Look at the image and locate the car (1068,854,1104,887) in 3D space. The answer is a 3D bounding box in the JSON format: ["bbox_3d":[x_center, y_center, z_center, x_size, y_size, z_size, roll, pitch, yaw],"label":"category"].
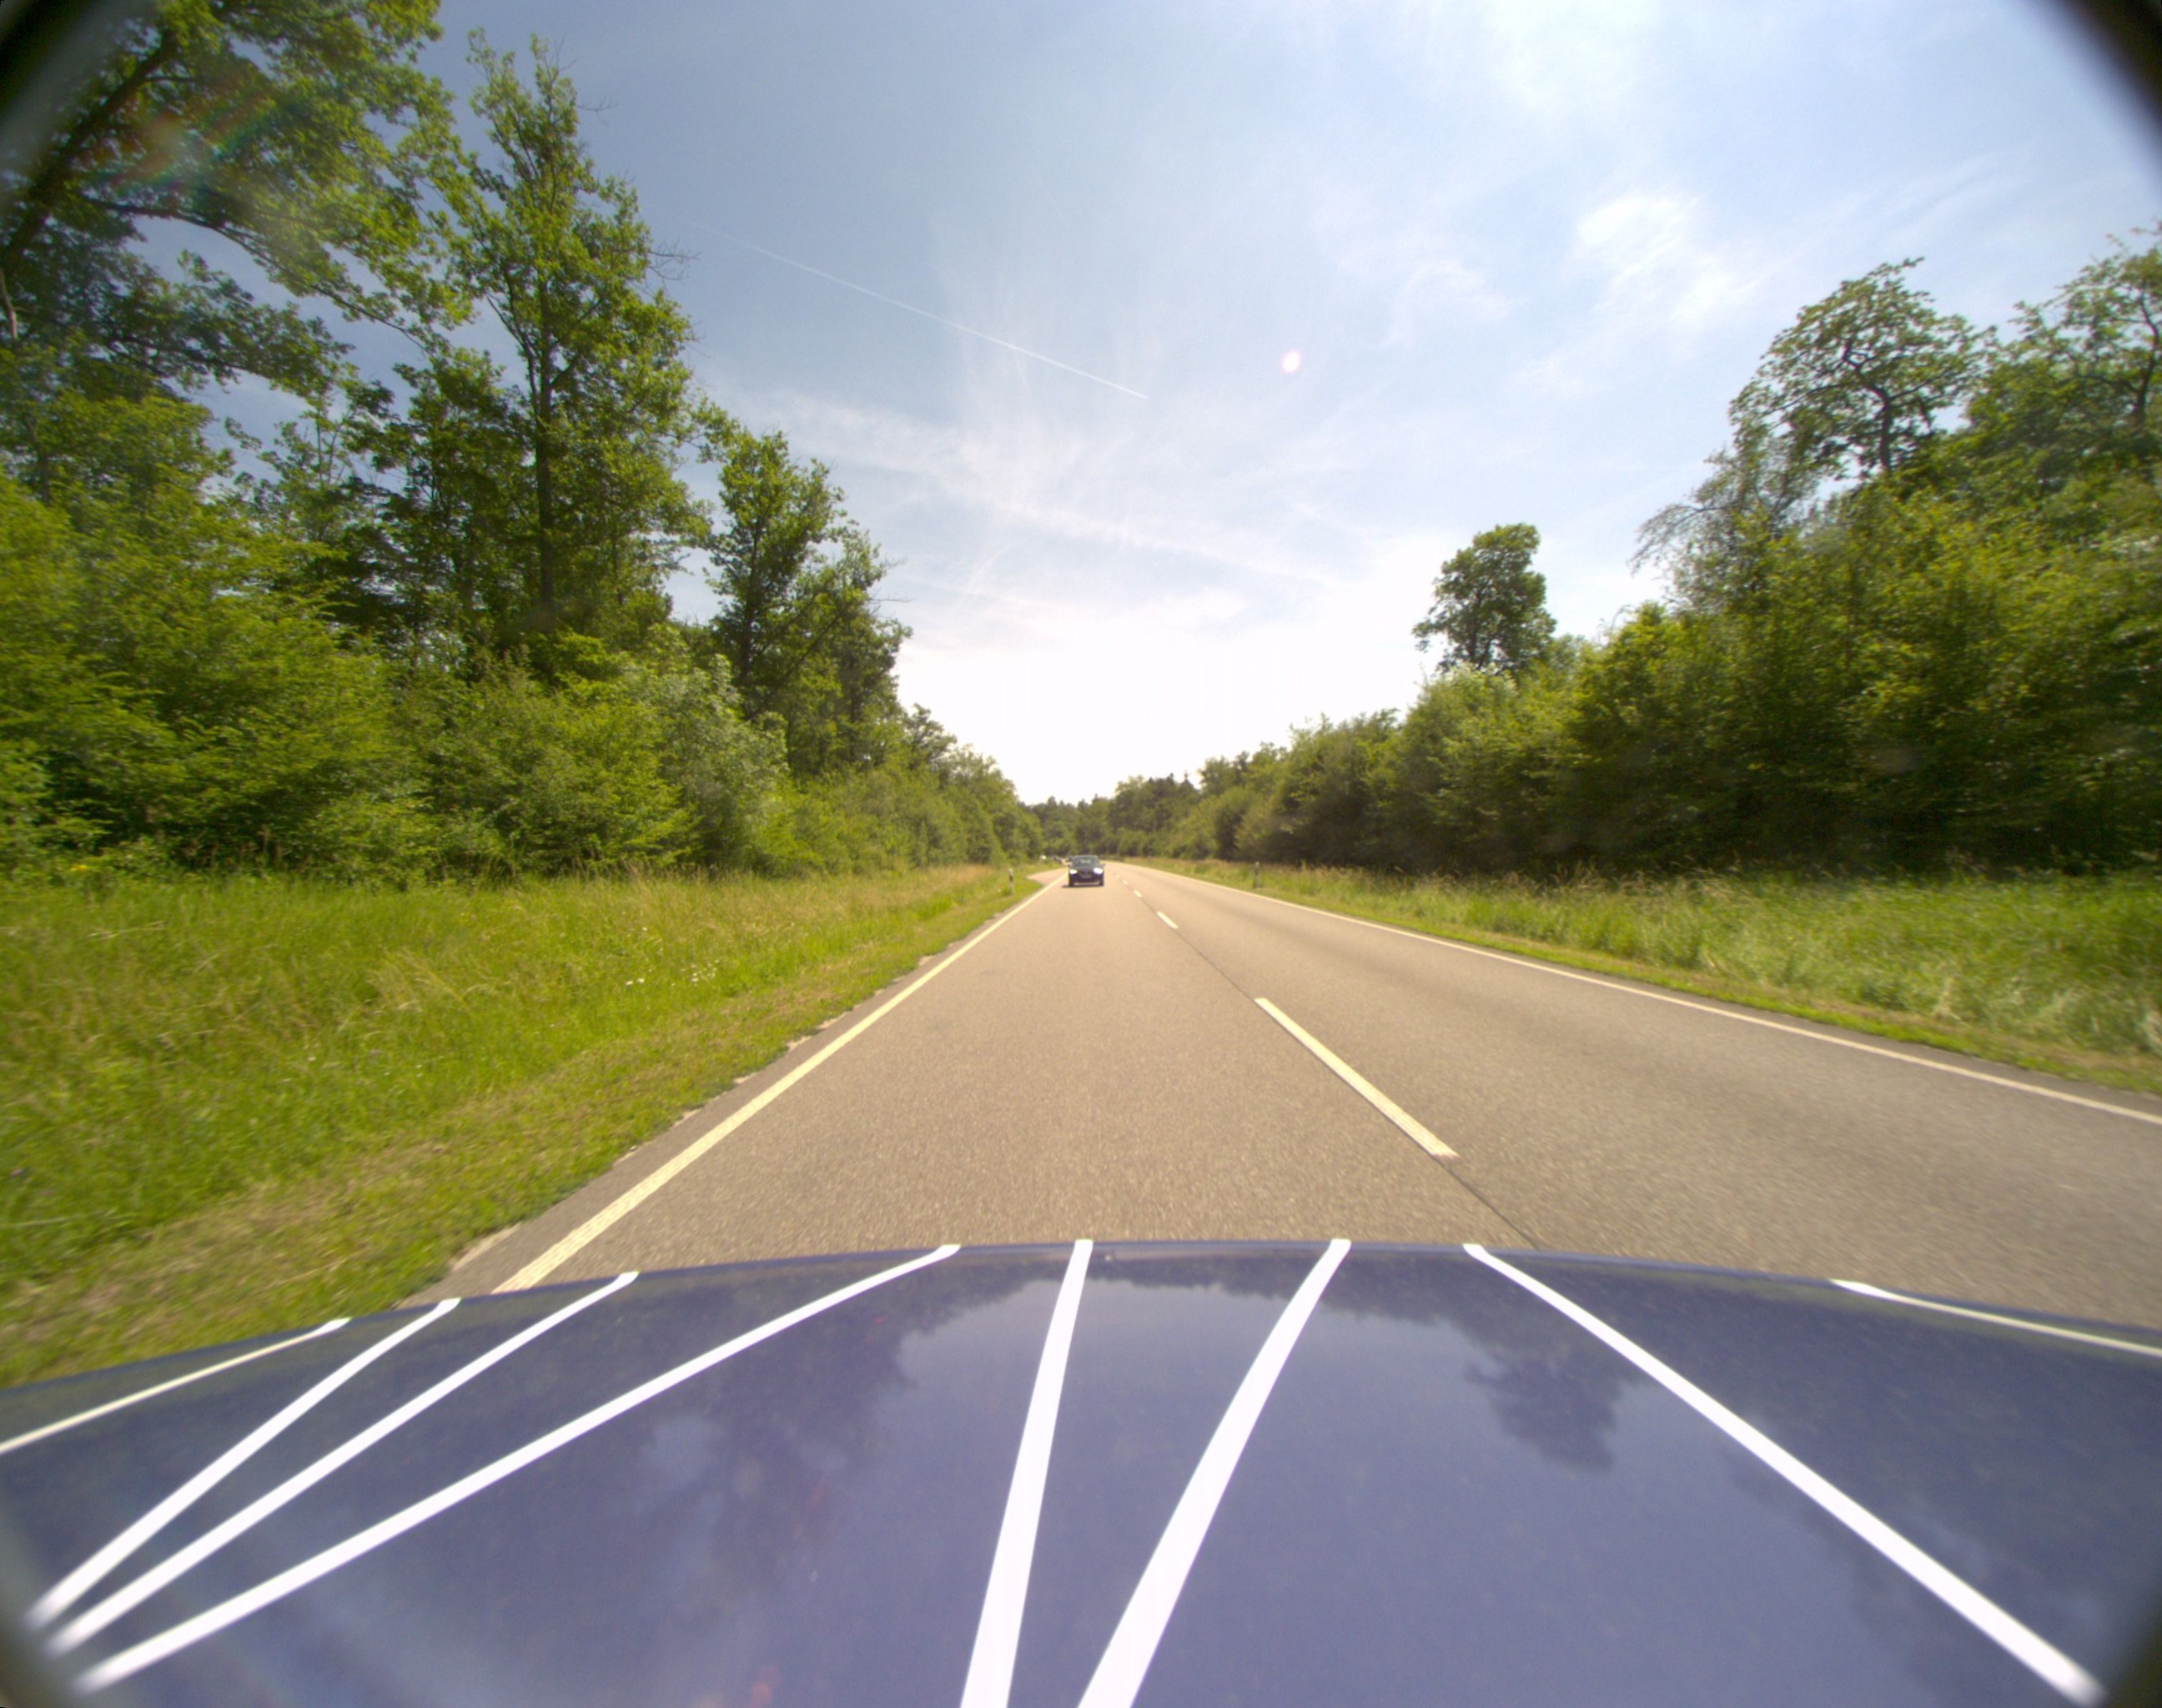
[{"bbox_3d":[0.274,0.791,38.499,1.713,1.516,4.242,-2,0,1],"label":"car"}]
